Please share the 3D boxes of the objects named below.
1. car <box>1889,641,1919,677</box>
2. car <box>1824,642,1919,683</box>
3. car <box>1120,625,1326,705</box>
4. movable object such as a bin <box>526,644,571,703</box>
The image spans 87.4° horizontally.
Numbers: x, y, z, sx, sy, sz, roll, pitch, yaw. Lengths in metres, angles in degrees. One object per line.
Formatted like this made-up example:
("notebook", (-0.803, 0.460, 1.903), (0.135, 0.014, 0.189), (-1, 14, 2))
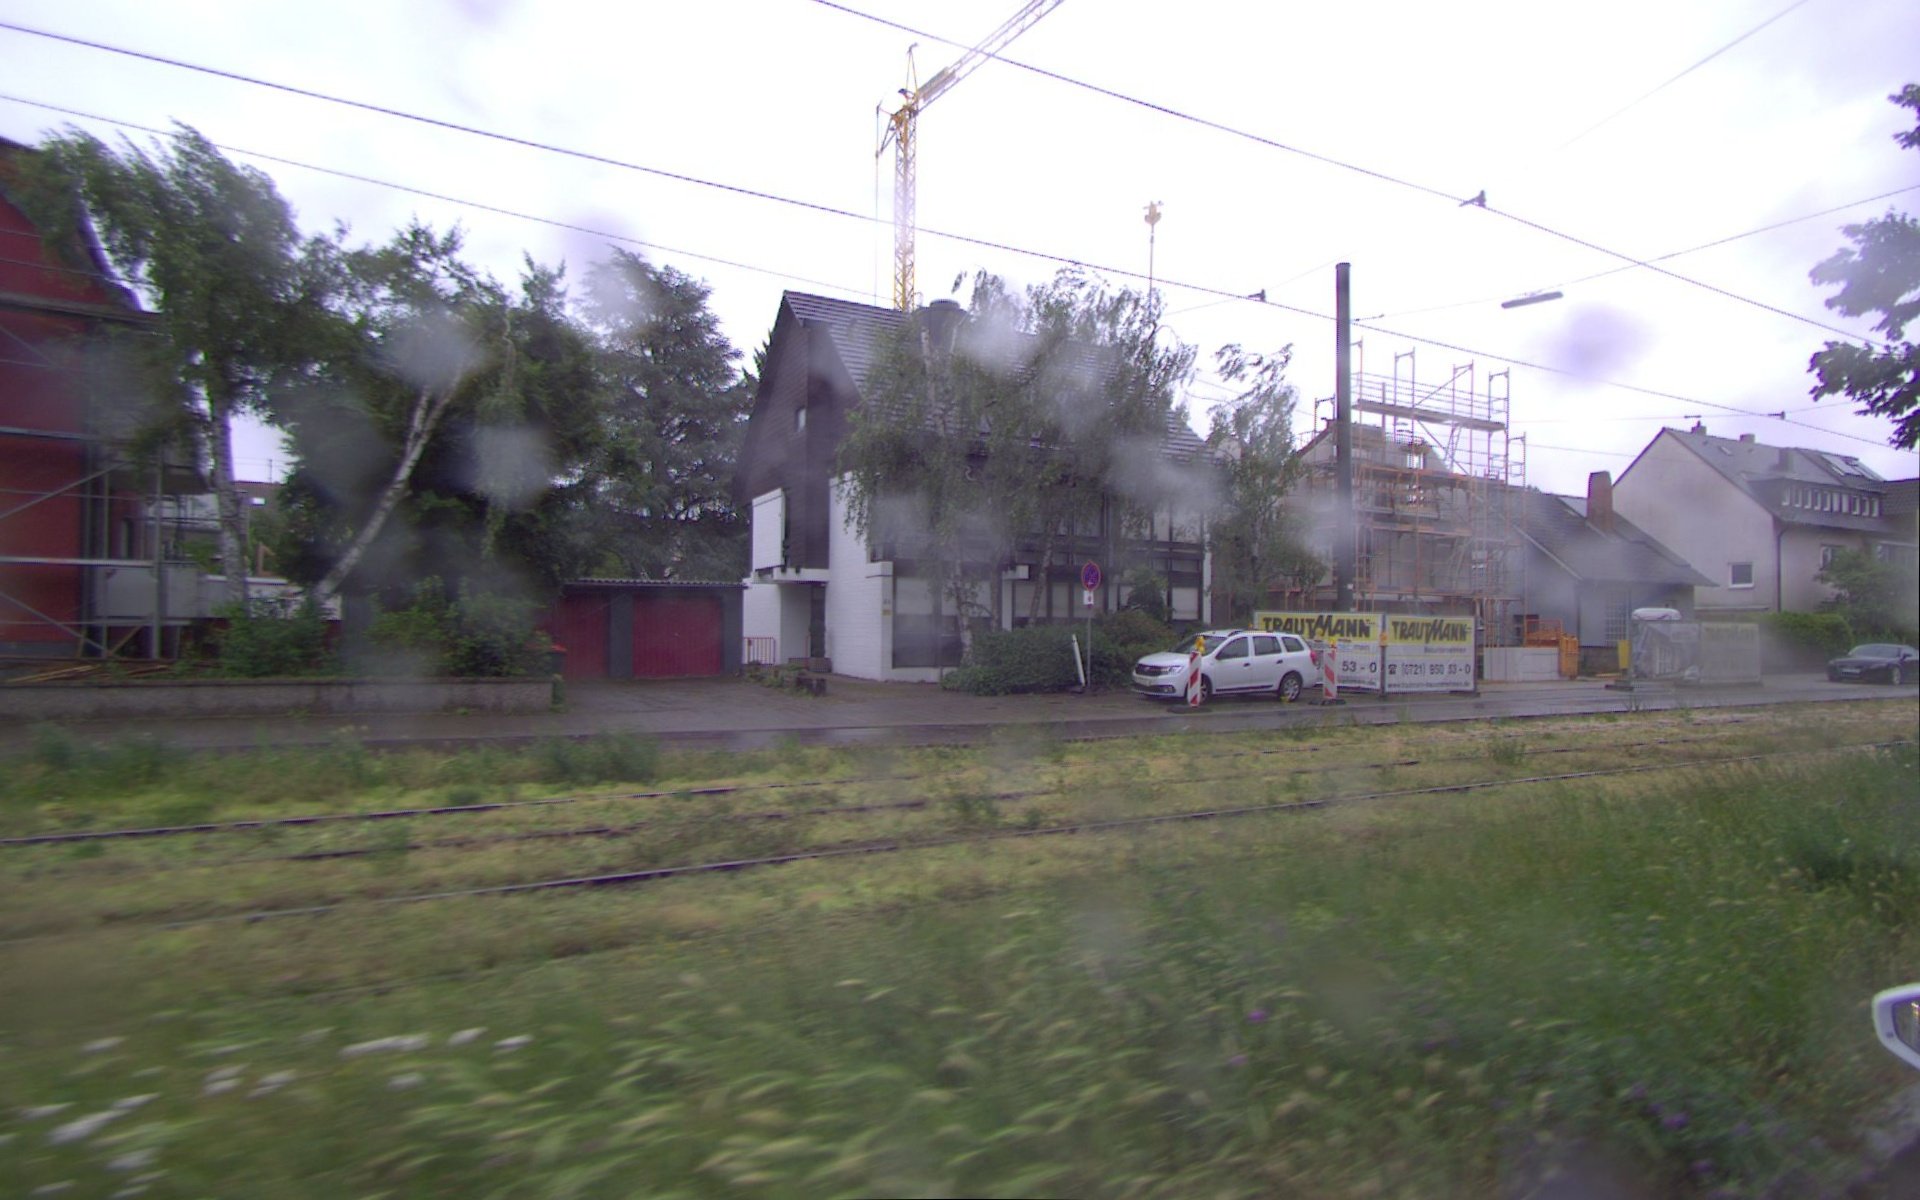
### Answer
("car", (36.329, 2.197, 37.159), (3.805, 1.261, 1.668), (1, 0, -27))
("car", (31.835, 2.112, 34.704), (4.020, 1.261, 1.657), (1, 0, -28))
("car", (5.830, 1.377, 22.189), (4.365, 1.563, 1.704), (1, 1, -27))
("movable object such as a bin", (-7.970, 1.414, 19.454), (0.748, 1.105, 0.641), (1, -2, -28))
